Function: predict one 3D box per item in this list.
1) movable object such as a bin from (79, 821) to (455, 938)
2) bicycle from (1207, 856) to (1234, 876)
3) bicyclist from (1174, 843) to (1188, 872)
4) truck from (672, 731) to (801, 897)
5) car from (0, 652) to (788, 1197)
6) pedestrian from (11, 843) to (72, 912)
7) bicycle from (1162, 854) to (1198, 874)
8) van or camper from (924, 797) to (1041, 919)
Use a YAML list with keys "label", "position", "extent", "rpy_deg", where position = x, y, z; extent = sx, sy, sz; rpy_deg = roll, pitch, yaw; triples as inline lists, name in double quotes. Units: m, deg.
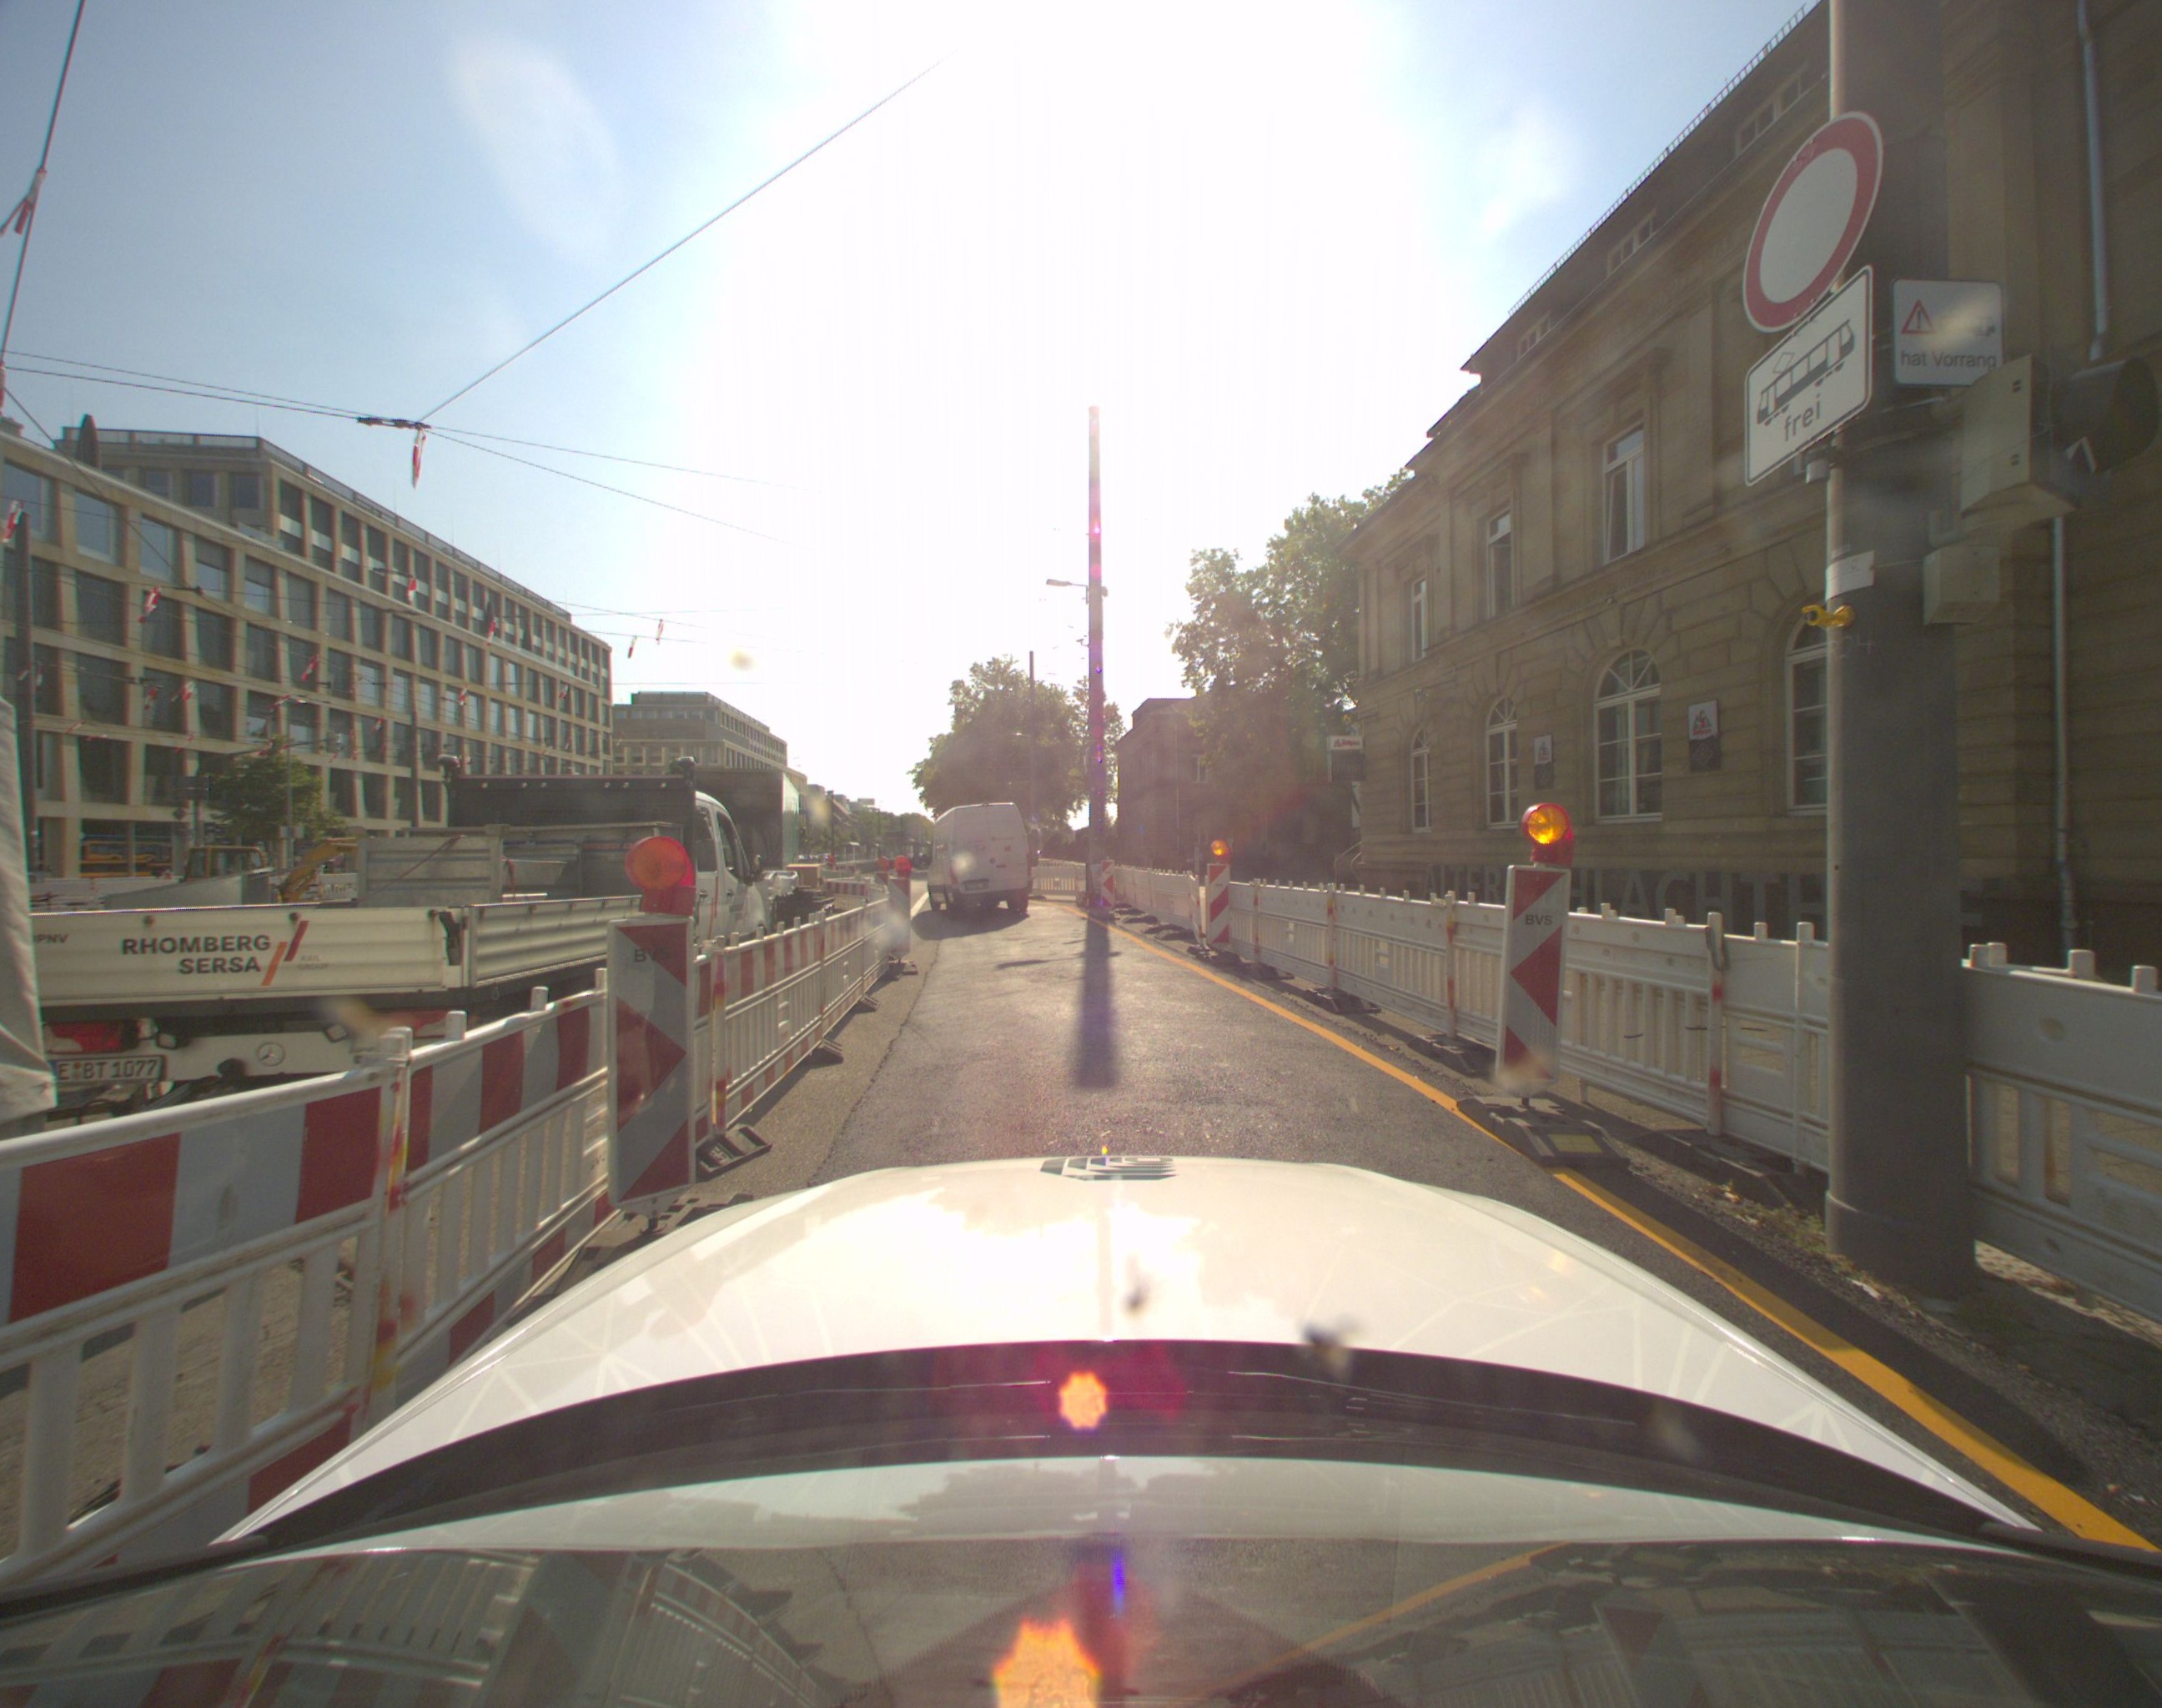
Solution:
- label: "movable object such as a bin"
  position: [-24.052, 0.718, 25.091]
  extent: [3.609, 2.958, 8.456]
  rpy_deg: [0, -1, -7]
- label: "bicycle"
  position: [7.674, 0.634, 44.832]
  extent: [0.494, 0.999, 1.803]
  rpy_deg: [-1, 3, -26]
- label: "bicyclist"
  position: [5.396, 0.193, 44.066]
  extent: [0.589, 1.539, 0.473]
  rpy_deg: [-1, 0, 25]
- label: "truck"
  position: [-9.663, -0.988, 23.661]
  extent: [2.801, 3.912, 8.365]
  rpy_deg: [1, 0, -19]
- label: "car"
  position: [-4.517, 0.300, 7.321]
  extent: [2.207, 2.424, 7.176]
  rpy_deg: [-1, 0, -9]
- label: "pedestrian"
  position: [-28.517, 0.637, 22.349]
  extent: [0.747, 1.865, 0.814]
  rpy_deg: [-1, 0, 17]
- label: "bicycle"
  position: [5.349, 0.552, 44.094]
  extent: [1.834, 1.089, 0.496]
  rpy_deg: [-1, 0, 26]
- label: "van or camper"
  position: [-2.703, 0.059, 21.130]
  extent: [2.120, 2.681, 5.222]
  rpy_deg: [-3, 1, -16]
